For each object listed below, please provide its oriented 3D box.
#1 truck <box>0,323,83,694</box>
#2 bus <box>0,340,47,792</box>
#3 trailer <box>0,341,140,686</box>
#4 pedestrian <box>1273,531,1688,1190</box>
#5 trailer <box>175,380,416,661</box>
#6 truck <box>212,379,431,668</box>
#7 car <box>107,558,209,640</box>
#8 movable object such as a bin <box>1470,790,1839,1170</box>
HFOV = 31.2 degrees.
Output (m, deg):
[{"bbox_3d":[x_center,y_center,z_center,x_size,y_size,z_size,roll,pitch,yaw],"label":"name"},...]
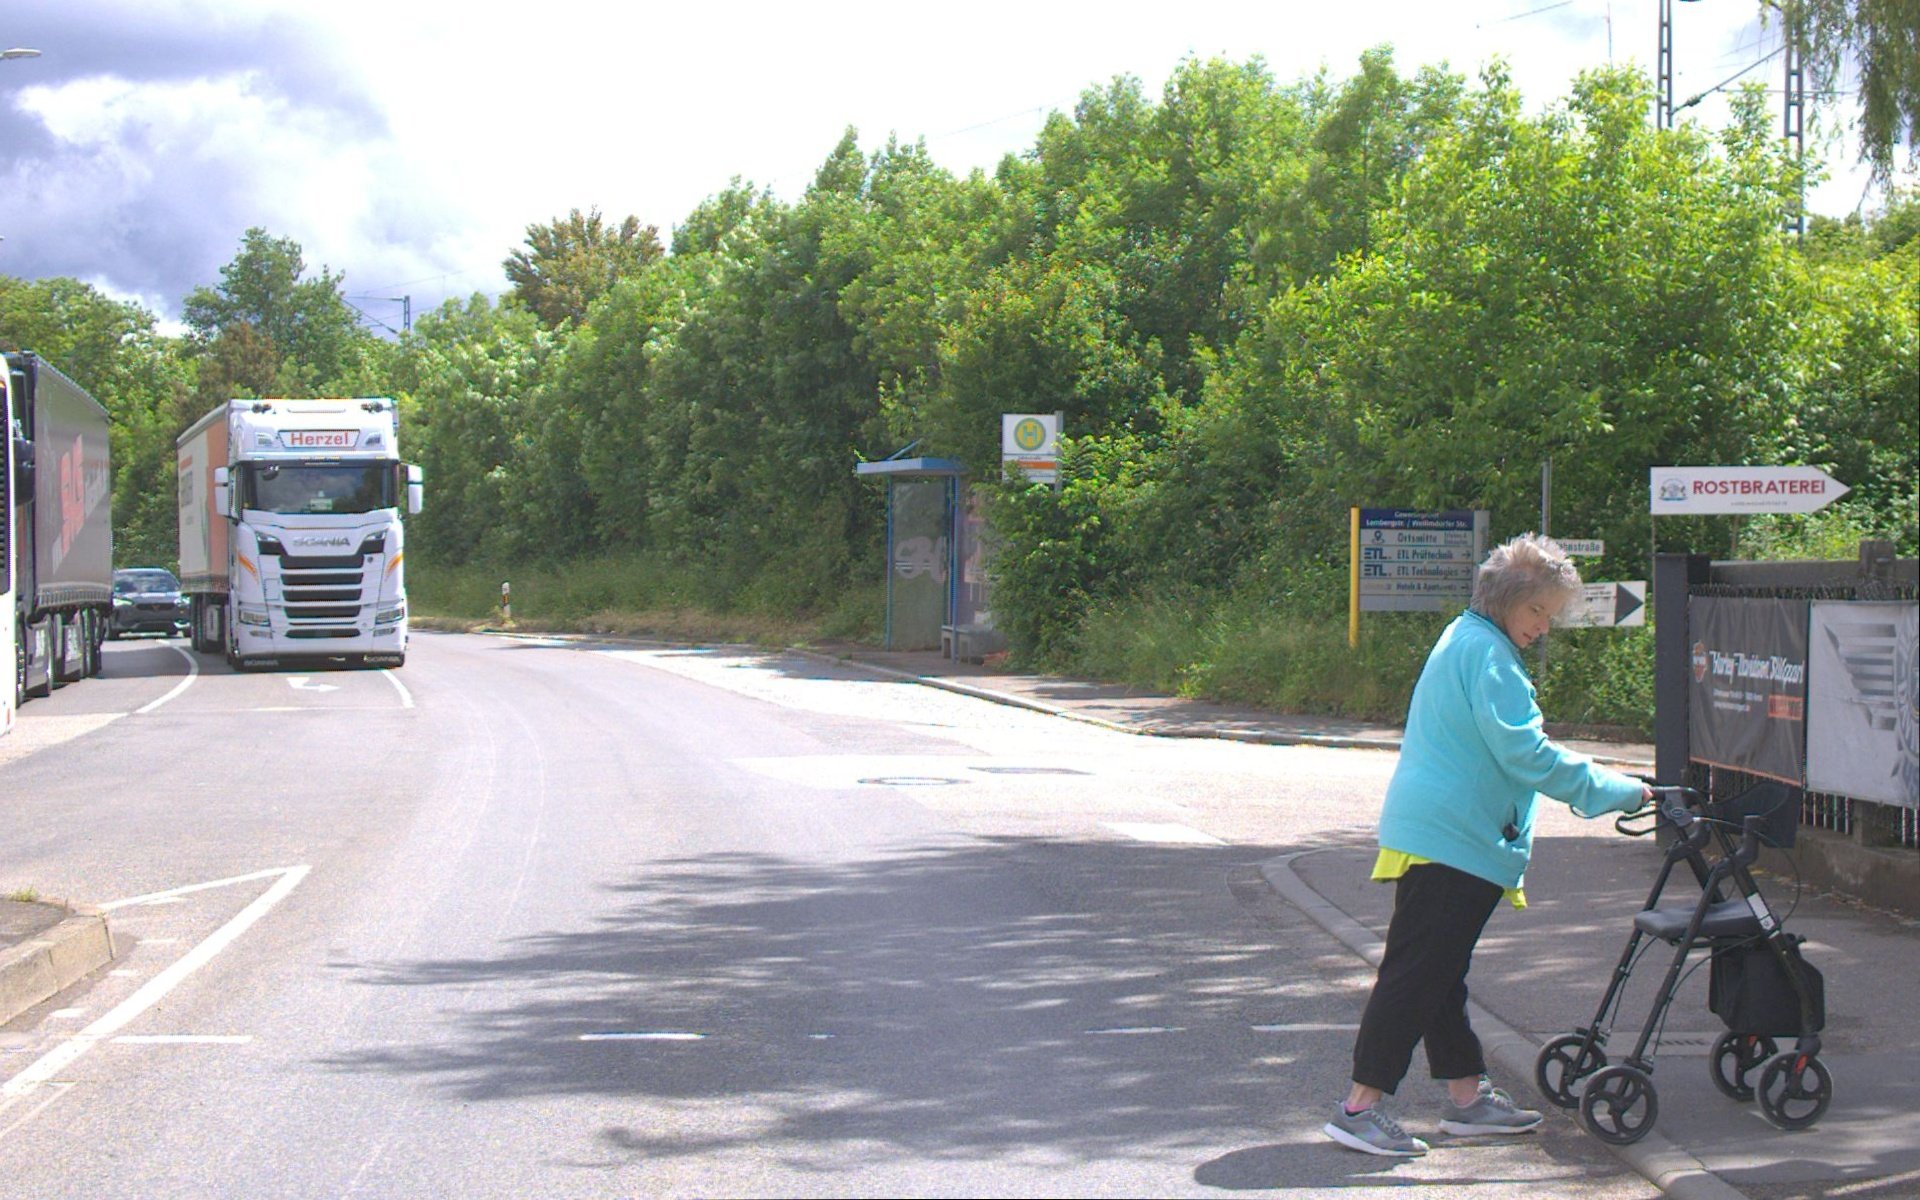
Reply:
[{"bbox_3d":[-12.020,-1.021,40.447,2.798,4.039,6.503,1,0,-10],"label":"truck"},{"bbox_3d":[-7.731,-0.206,18.028,2.718,3.020,12.266,0,0,-1],"label":"bus"},{"bbox_3d":[-13.309,-1.056,47.765,2.798,4.039,15.560,1,0,-10],"label":"trailer"},{"bbox_3d":[1.272,0.615,8.536,0.838,1.538,0.734,-2,0,-3],"label":"pedestrian"},{"bbox_3d":[-11.542,-1.208,58.429,2.770,4.131,15.355,1,0,-16],"label":"trailer"},{"bbox_3d":[-9.655,-1.095,51.646,2.770,4.105,4.988,1,0,-16],"label":"truck"},{"bbox_3d":[-17.283,-0.031,73.949,1.993,1.700,4.001,1,0,-15],"label":"car"},{"bbox_3d":[1.716,0.932,8.583,0.746,0.868,0.671,1,0,-3],"label":"movable object such as a bin"}]
